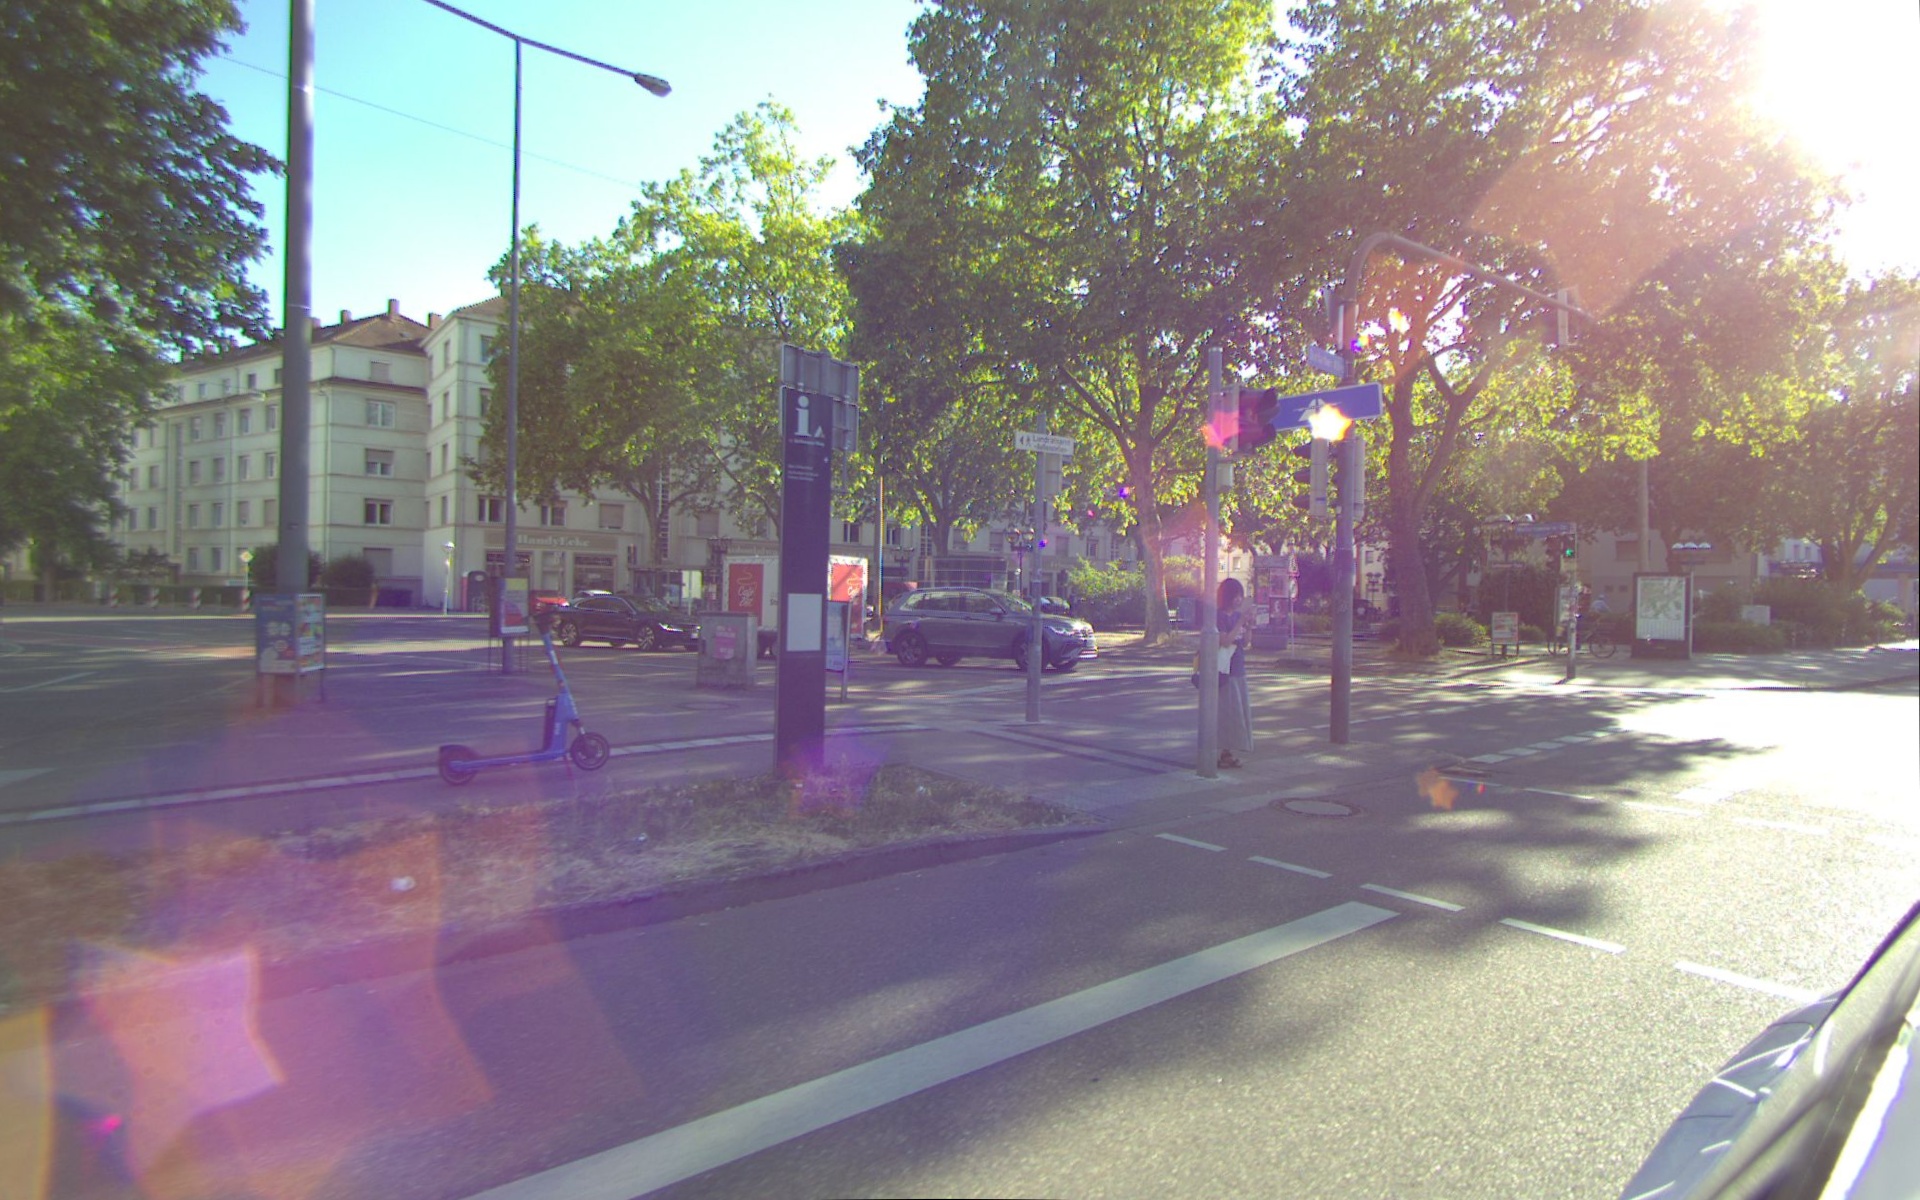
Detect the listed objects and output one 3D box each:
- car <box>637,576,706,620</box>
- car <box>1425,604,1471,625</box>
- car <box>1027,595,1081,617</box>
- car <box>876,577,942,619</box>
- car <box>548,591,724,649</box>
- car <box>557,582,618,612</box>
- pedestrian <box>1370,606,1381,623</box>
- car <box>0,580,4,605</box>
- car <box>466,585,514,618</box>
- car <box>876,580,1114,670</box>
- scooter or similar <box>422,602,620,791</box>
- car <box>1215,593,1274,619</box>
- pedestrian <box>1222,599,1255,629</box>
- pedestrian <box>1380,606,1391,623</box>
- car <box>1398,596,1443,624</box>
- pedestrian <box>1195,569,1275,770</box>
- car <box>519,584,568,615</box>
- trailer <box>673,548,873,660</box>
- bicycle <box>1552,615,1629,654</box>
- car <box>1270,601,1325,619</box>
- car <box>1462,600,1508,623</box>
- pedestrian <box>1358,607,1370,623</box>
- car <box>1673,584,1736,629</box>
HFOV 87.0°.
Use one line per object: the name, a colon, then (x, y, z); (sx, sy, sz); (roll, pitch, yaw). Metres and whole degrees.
car: (-13.900, -0.127, 48.604); (1.730, 1.893, 4.352); (1, 2, -37)
car: (37.304, 1.079, 77.269); (4.106, 1.522, 1.709); (2, -1, -41)
car: (7.375, 0.487, 79.586); (1.747, 1.498, 4.352); (1, 2, -37)
car: (-3.671, -0.171, 71.612); (2.127, 2.700, 5.067); (1, 2, -37)
car: (-8.395, 0.518, 26.165); (4.400, 1.378, 1.915); (-1, -1, 31)
car: (-21.172, -0.199, 57.432); (1.701, 1.498, 4.345); (0, 2, -43)
pedestrian: (31.054, 1.105, 75.589); (0.627, 1.242, 0.533); (-1, -2, 35)
car: (-56.183, -0.413, 57.274); (4.400, 1.378, 1.915); (-1, -1, 31)
car: (-25.210, 0.057, 54.229); (1.788, 1.498, 4.357); (1, 2, -32)
car: (0.677, 0.513, 20.788); (4.541, 1.661, 1.915); (-1, -2, 31)
scooter or similar: (-3.223, 0.659, 7.445); (1.264, 1.273, 0.563); (0, 1, -30)
car: (21.984, 0.451, 78.218); (2.010, 1.941, 3.997); (1, -2, -37)
pedestrian: (11.957, 0.597, 43.451); (0.776, 1.256, 1.140); (1, -2, -38)
pedestrian: (31.573, 1.092, 75.089); (0.627, 1.242, 0.533); (-1, -2, 35)
car: (36.152, 0.787, 79.442); (4.106, 2.053, 1.709); (2, -1, -41)
pedestrian: (2.378, 0.576, 8.738); (0.427, 1.660, 0.603); (-1, -2, 44)
car: (-23.086, -0.047, 55.996); (1.788, 1.498, 4.357); (1, 2, -32)
trailer: (-4.421, 0.064, 23.802); (4.478, 2.403, 1.893); (1, -1, 31)
bicycle: (17.925, 0.963, 28.802); (1.806, 1.067, 0.530); (0, -1, 26)
car: (27.591, 0.836, 82.854); (1.746, 1.427, 3.997); (1, -2, -37)
car: (39.135, 0.868, 75.400); (4.106, 1.681, 1.709); (2, -1, -41)
pedestrian: (30.578, 1.127, 76.608); (0.629, 1.242, 0.531); (-2, -2, 44)
car: (47.467, 0.450, 64.530); (4.628, 2.777, 1.998); (1, -2, -38)
